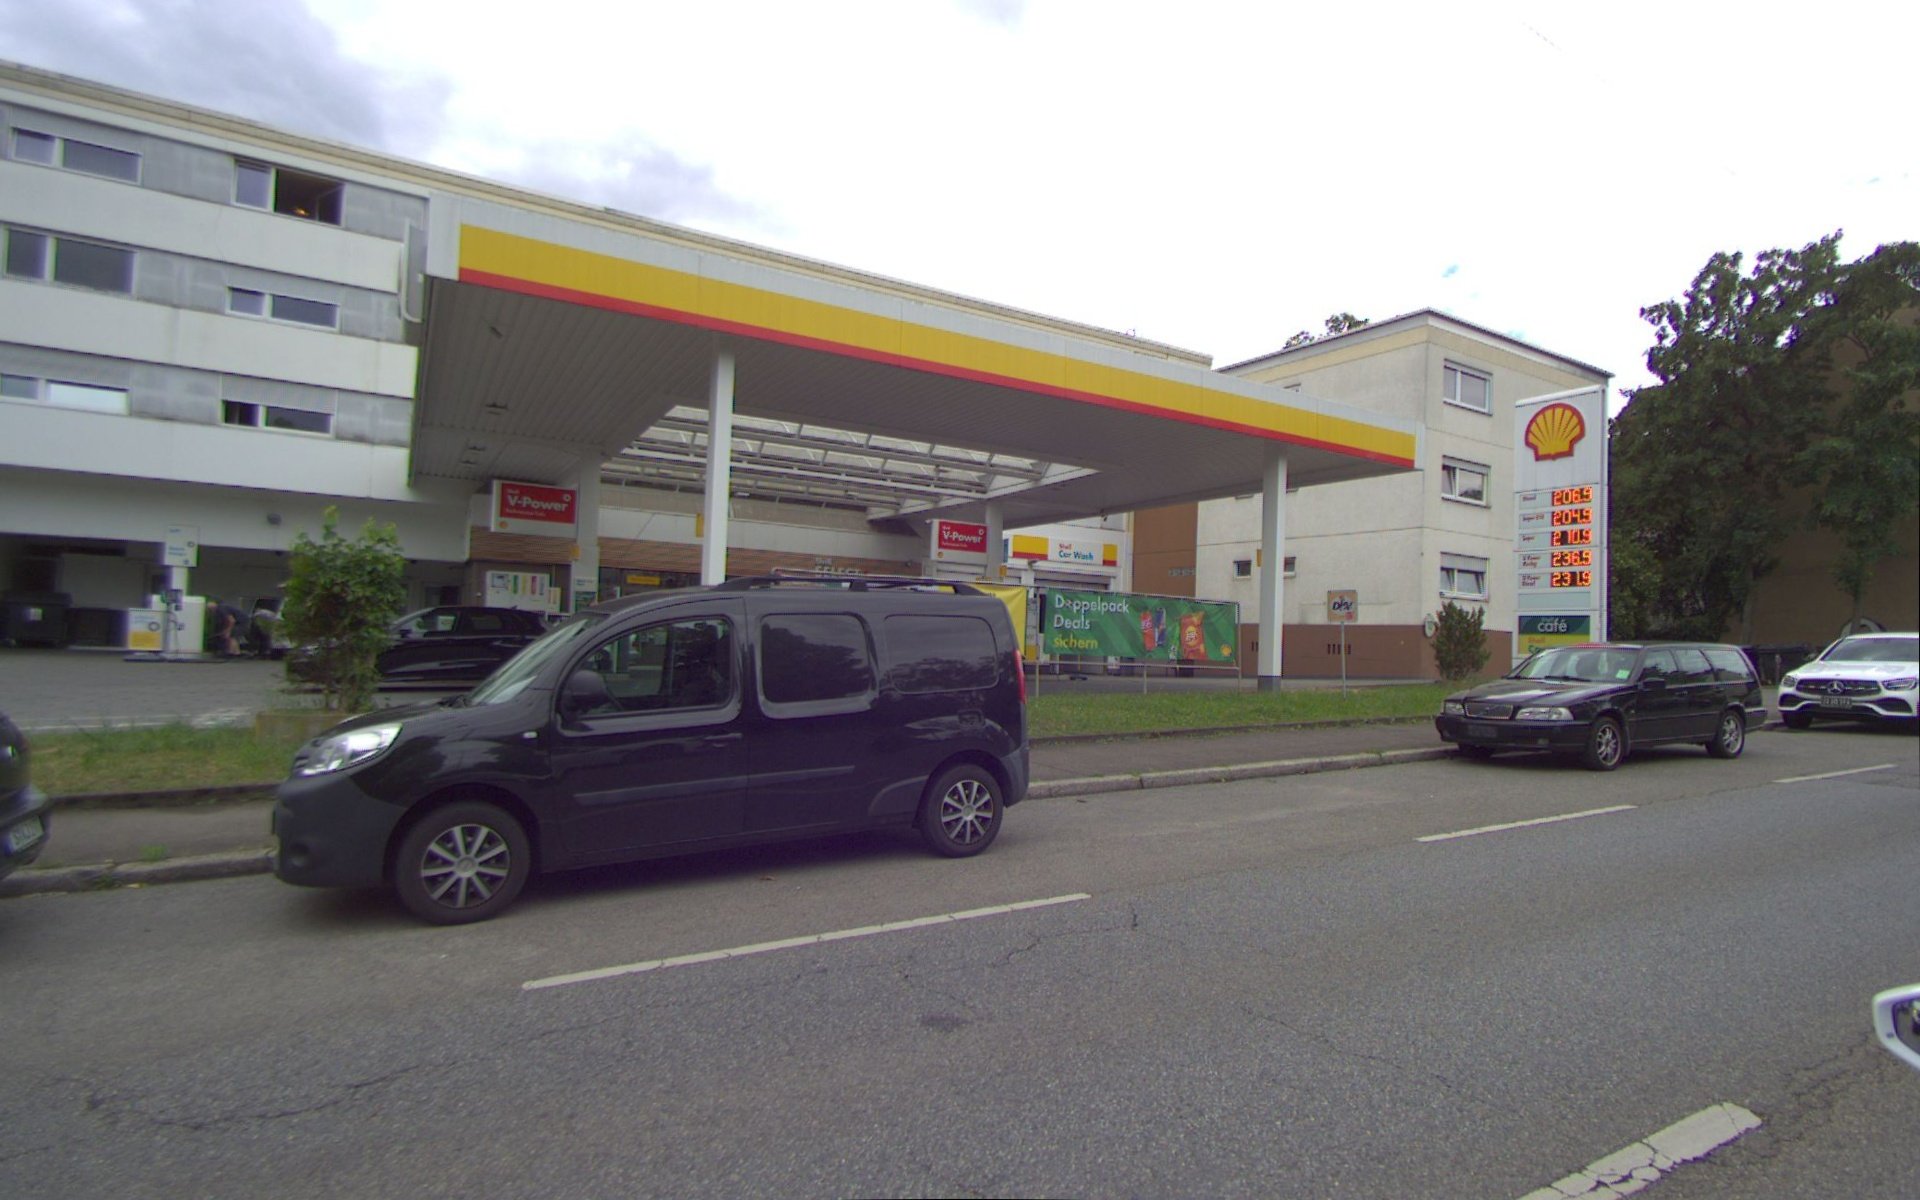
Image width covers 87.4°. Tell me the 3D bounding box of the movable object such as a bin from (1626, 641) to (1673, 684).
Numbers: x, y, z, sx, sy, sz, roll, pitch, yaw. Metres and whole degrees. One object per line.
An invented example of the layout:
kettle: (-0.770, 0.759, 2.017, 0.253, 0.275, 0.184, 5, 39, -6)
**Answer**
movable object such as a bin: (24.155, 2.184, 35.189, 1.382, 1.447, 0.905, 1, -1, -32)

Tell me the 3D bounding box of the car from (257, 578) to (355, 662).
car: (-16.748, 0.513, 25.890, 1.814, 1.989, 3.877, 2, -1, -29)

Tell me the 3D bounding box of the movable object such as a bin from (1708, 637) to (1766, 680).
movable object such as a bin: (27.479, 2.060, 35.538, 0.903, 1.447, 1.385, 1, -1, -32)

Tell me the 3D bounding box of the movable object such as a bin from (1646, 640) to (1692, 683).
movable object such as a bin: (25.370, 2.183, 35.949, 1.382, 1.447, 0.905, 1, -1, -32)

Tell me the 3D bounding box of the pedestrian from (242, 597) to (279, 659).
pedestrian: (-17.670, 0.692, 25.384, 0.656, 1.537, 0.795, 1, 0, -27)

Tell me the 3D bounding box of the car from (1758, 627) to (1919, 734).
car: (15.831, 1.287, 17.111, 4.643, 1.598, 1.907, 1, -2, -30)

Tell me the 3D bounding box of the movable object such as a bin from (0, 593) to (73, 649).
movable object such as a bin: (-23.744, 0.535, 25.796, 1.230, 1.391, 1.144, 2, -1, -32)

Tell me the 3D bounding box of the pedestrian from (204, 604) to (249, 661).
pedestrian: (-17.474, 0.771, 23.931, 0.792, 1.332, 0.659, 1, 0, -32)

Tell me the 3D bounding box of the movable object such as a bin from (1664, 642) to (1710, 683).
movable object such as a bin: (26.563, 2.261, 36.711, 1.382, 1.447, 0.905, 1, -1, -32)

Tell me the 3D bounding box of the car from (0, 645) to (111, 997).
car: (-6.233, 0.922, 3.913, 4.168, 1.469, 1.782, 1, -3, -30)

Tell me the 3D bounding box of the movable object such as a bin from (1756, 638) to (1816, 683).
movable object such as a bin: (28.222, 2.059, 34.325, 0.903, 1.447, 1.385, 1, -1, -32)

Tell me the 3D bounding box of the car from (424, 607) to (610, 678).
car: (-9.773, 0.902, 22.186, 3.593, 1.439, 1.789, 1, -1, -30)

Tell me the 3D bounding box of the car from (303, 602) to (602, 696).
car: (-8.618, 0.790, 17.292, 4.365, 1.439, 1.789, 1, -1, -30)

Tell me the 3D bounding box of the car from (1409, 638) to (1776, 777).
car: (7.935, 1.211, 12.514, 4.684, 1.450, 1.791, 1, -3, -28)

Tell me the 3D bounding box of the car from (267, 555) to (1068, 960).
car: (-1.685, 0.799, 6.663, 4.649, 1.859, 1.842, 1, -3, -32)

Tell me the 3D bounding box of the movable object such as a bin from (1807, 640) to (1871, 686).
movable object such as a bin: (28.962, 2.048, 33.098, 0.903, 1.447, 1.385, 1, -1, -32)
